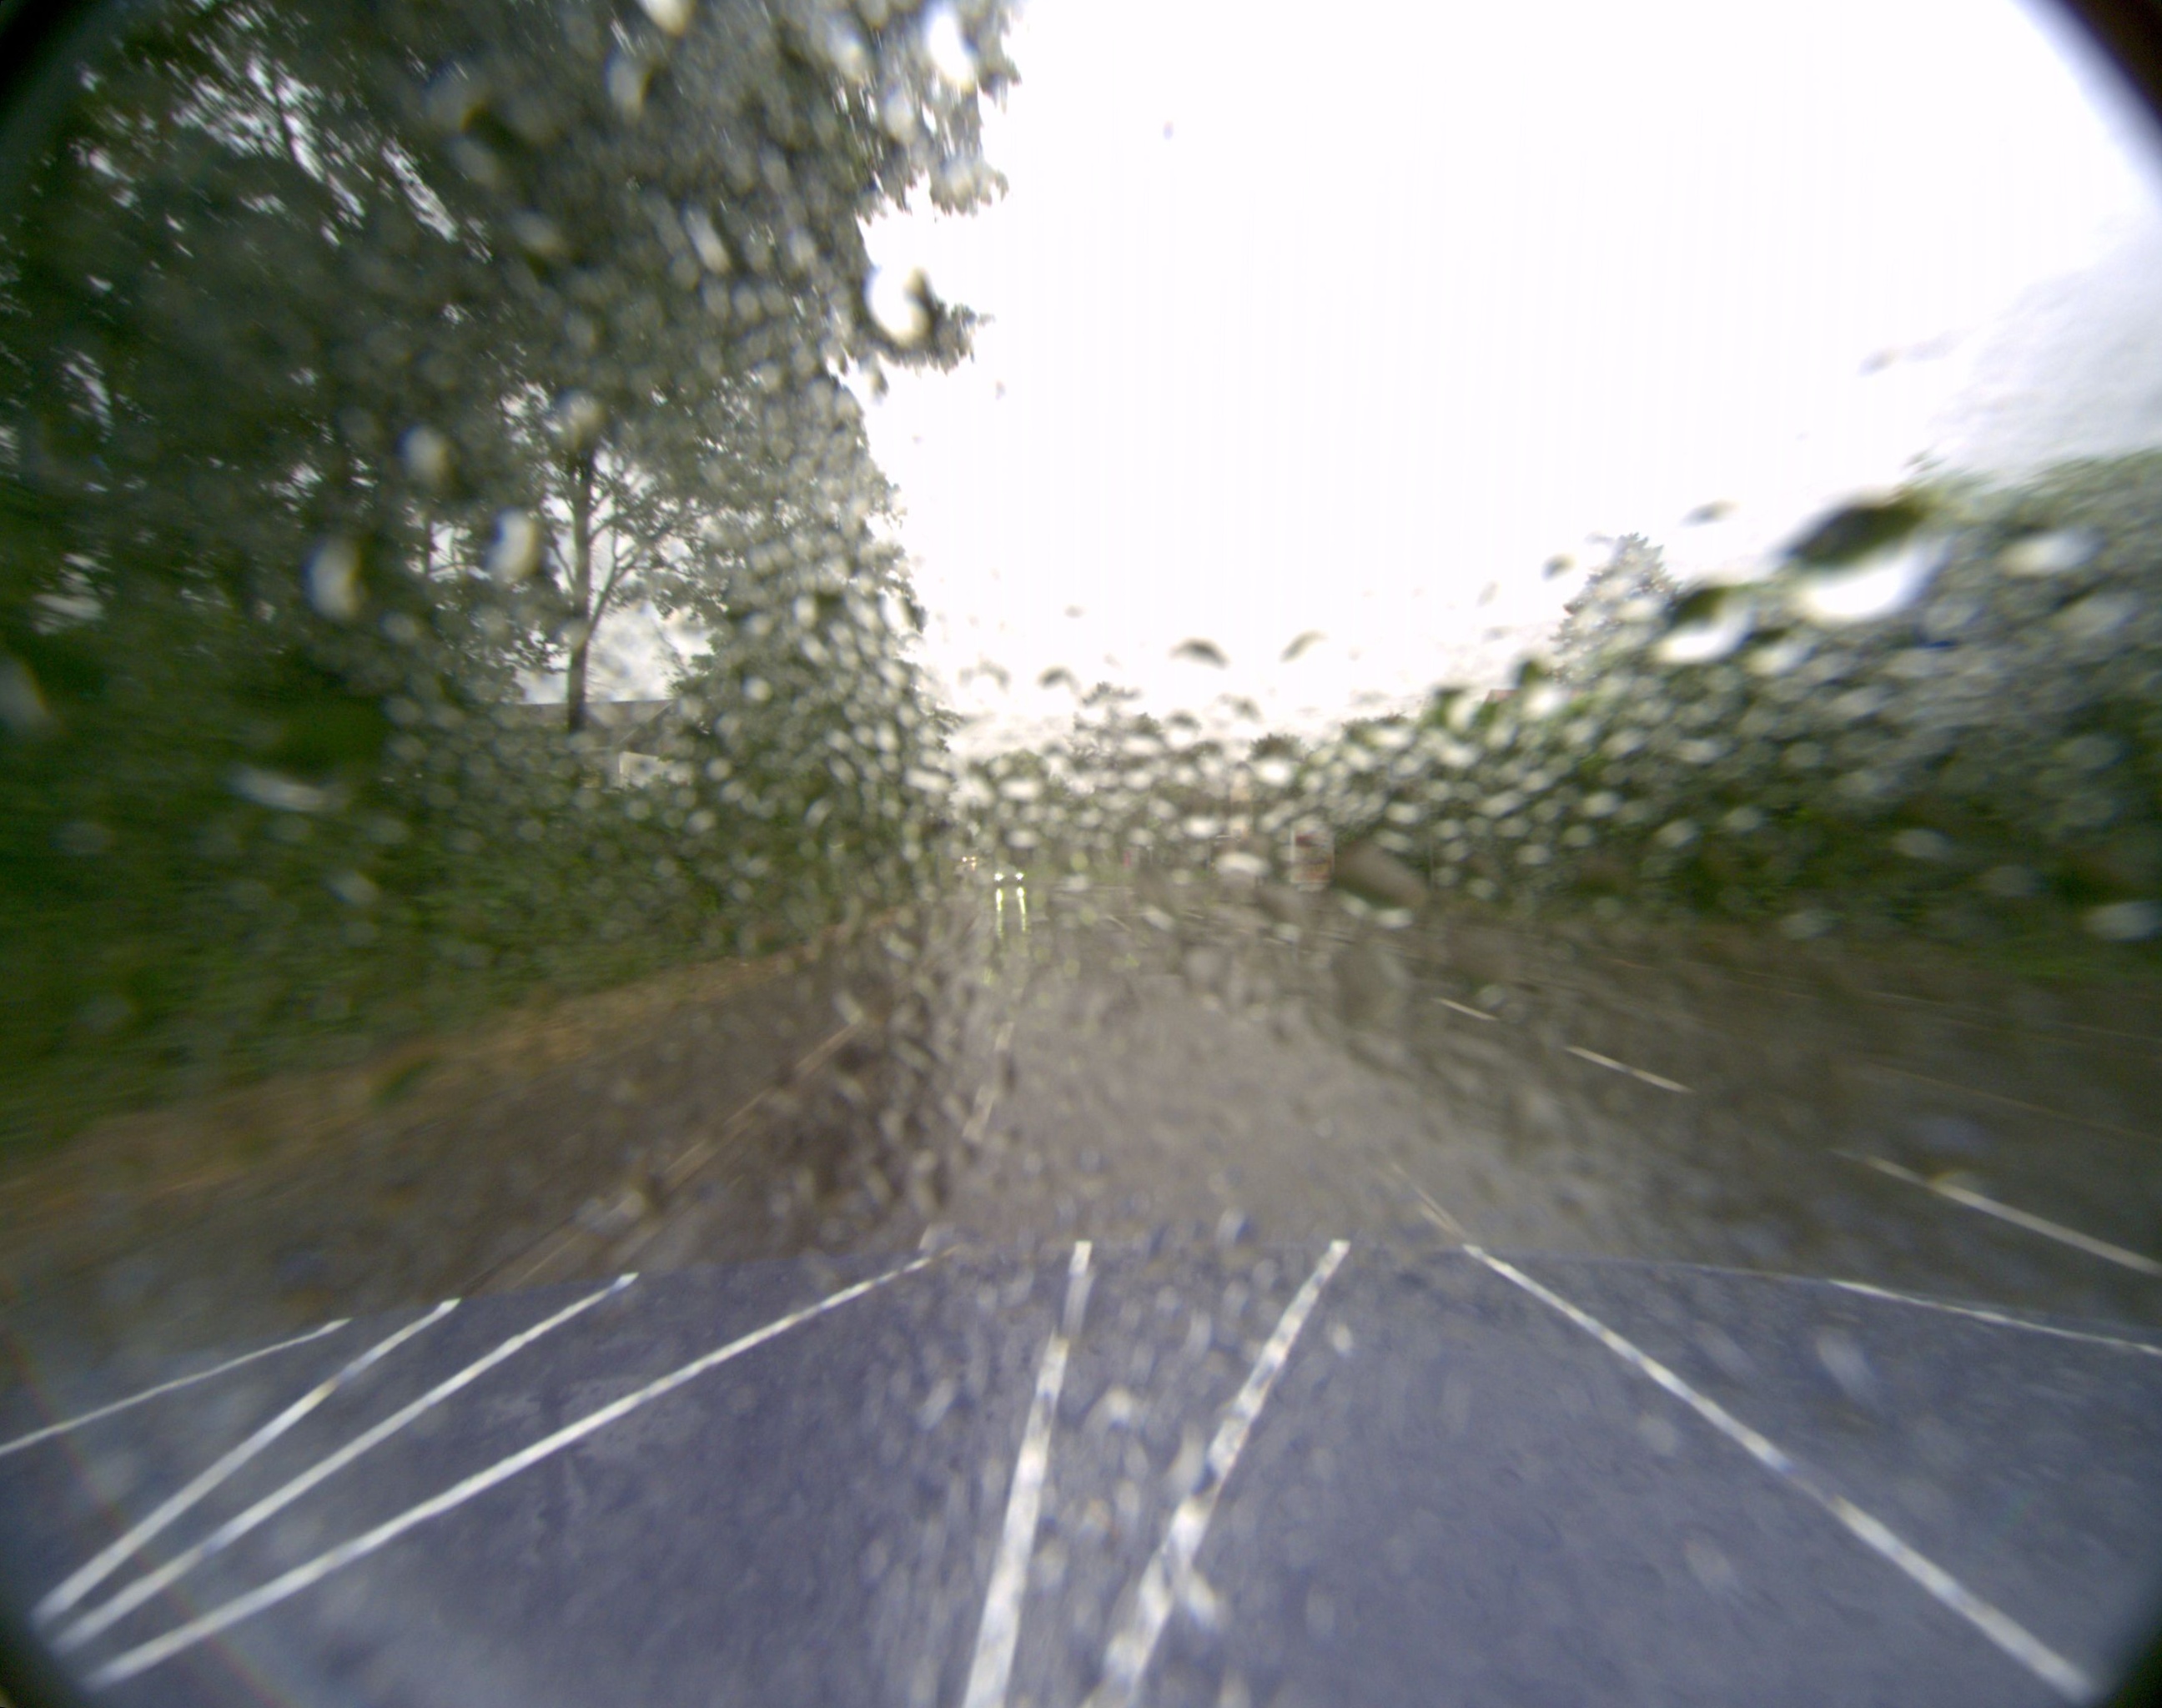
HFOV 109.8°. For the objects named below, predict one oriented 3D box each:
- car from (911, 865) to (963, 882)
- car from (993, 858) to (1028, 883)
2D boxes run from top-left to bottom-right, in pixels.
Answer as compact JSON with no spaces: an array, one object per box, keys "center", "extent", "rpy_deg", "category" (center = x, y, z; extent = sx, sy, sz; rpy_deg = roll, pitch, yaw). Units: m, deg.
[{"center":[-13.868,1.869,73.380],"extent":[4.812,1.406,1.806],"rpy_deg":[-3,1,-9],"category":"car"},{"center":[-4.951,1.133,53.056],"extent":[1.801,1.543,3.995],"rpy_deg":[-3,0,-13],"category":"car"}]
